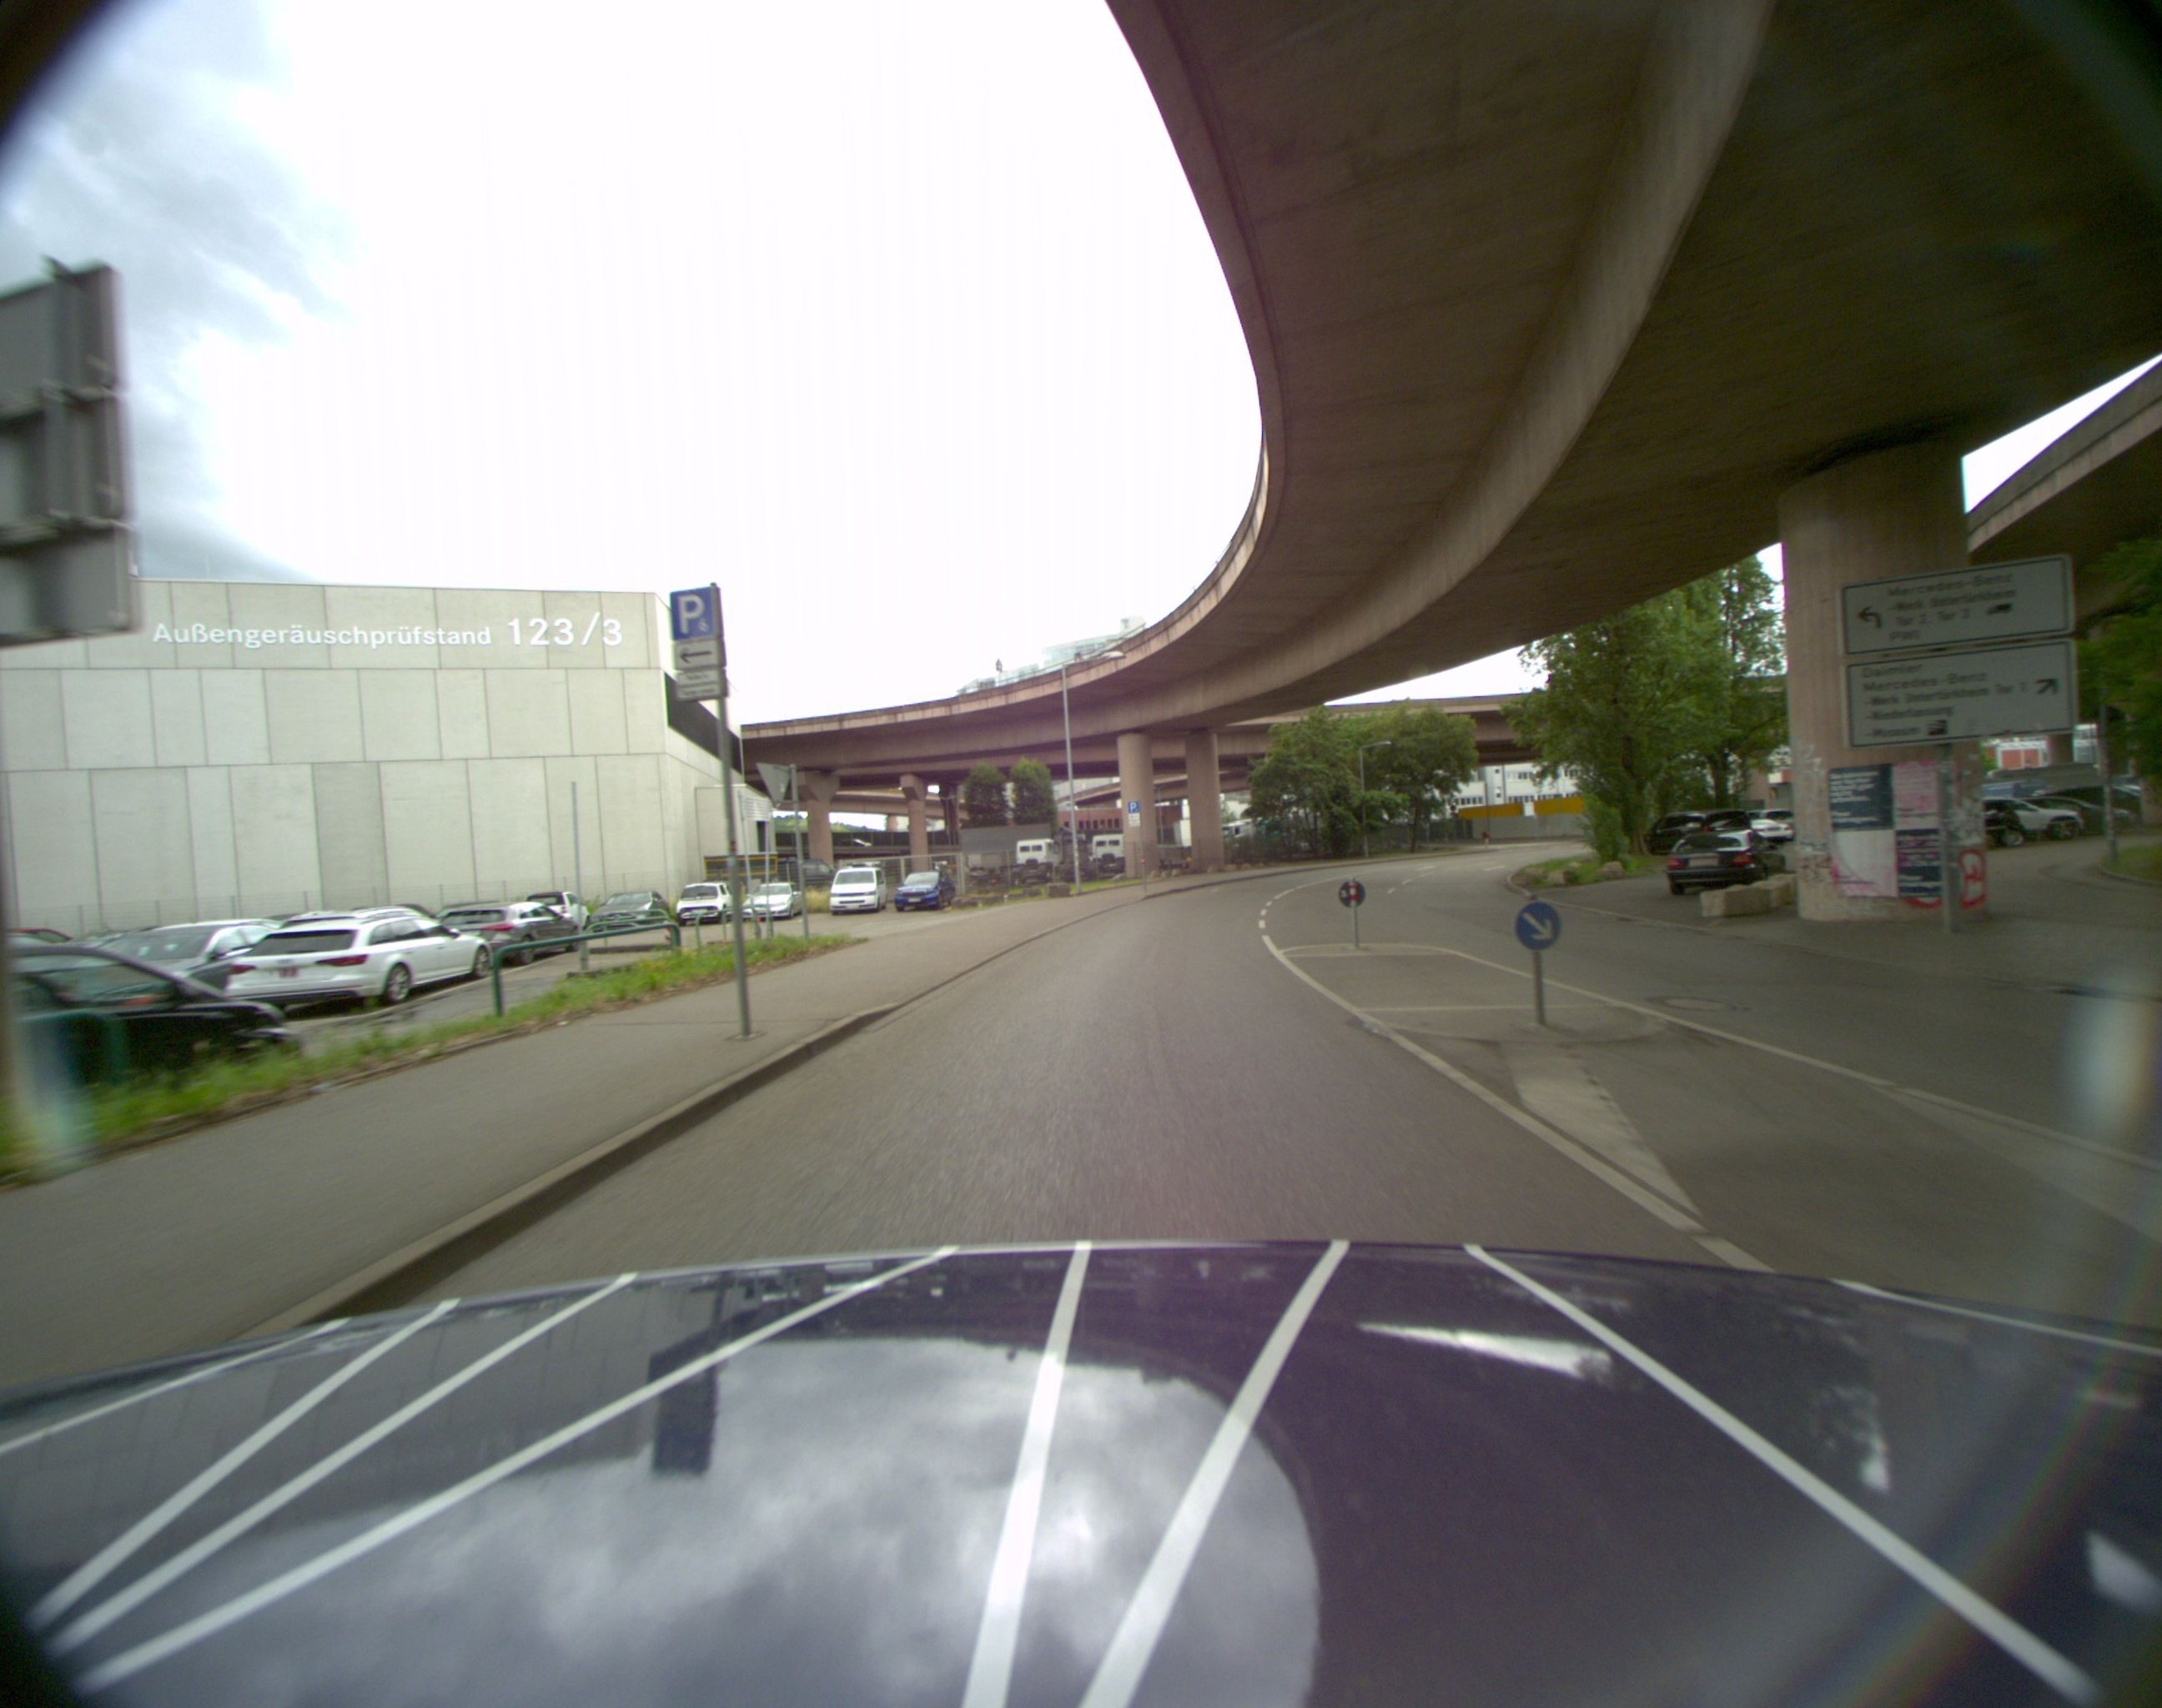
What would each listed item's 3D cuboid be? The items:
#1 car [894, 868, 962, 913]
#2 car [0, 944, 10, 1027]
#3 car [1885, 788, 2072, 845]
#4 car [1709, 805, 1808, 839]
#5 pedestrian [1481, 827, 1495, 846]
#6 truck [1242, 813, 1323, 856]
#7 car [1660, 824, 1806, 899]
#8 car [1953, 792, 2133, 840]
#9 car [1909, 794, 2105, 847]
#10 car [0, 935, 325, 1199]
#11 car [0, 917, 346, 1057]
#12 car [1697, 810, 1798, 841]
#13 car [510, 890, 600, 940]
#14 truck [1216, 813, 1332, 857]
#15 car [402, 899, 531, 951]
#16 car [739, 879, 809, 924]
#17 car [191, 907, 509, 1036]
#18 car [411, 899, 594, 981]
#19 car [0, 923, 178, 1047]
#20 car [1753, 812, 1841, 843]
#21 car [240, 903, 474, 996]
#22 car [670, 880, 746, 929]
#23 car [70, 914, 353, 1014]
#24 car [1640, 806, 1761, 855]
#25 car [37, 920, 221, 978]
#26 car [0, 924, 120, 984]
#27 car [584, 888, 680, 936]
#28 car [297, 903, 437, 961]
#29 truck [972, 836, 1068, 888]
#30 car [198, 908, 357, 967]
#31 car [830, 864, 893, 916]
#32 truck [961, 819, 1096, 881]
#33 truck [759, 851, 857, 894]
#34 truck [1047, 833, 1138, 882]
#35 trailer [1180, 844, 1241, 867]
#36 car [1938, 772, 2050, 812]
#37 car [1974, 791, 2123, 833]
[{"bbox_3d":[-6.548,1.507,32.982,1.774,1.625,4.686,-3,0,2],"label":"car"},{"bbox_3d":[-19.175,2.318,10.923,1.859,1.435,4.614,-3,0,-17],"label":"car"},{"bbox_3d":[31.778,-1.295,27.028,4.057,1.697,1.737,-3,1,11],"label":"car"},{"bbox_3d":[36.764,-1.711,41.394,1.694,1.664,4.679,-3,1,9],"label":"car"},{"bbox_3d":[36.408,-1.571,67.972,0.856,1.671,0.752,-4,2,-37],"label":"pedestrian"},{"bbox_3d":[17.483,-1.709,66.013,6.413,3.389,2.268,-3,2,-11],"label":"truck"},{"bbox_3d":[15.649,0.144,18.137,4.782,1.422,1.824,-4,-2,-40],"label":"car"},{"bbox_3d":[35.607,-1.393,28.245,3.862,1.456,1.744,-3,1,15],"label":"car"},{"bbox_3d":[30.460,-1.074,25.140,3.861,1.456,1.540,-3,1,19],"label":"car"},{"bbox_3d":[-7.633,1.504,5.403,1.542,1.470,2.762,-3,0,7],"label":"car"},{"bbox_3d":[-14.624,1.972,12.330,1.859,1.466,4.681,-3,0,-17],"label":"car"},{"bbox_3d":[33.504,-1.394,38.351,1.694,1.356,4.519,-3,1,10],"label":"car"},{"bbox_3d":[-19.225,2.197,27.915,1.624,1.535,3.094,-3,0,-14],"label":"car"},{"bbox_3d":[17.578,-1.720,69.166,10.219,3.478,2.268,-3,2,-14],"label":"truck"},{"bbox_3d":[-21.484,2.416,26.807,1.776,1.375,4.356,-3,0,-14],"label":"car"},{"bbox_3d":[-12.251,1.844,30.606,1.776,1.448,4.550,-3,0,-12],"label":"car"},{"bbox_3d":[-12.260,1.840,13.284,1.859,1.466,4.681,-3,0,-14],"label":"car"},{"bbox_3d":[-13.641,1.946,18.283,1.840,1.417,4.437,-3,0,-14],"label":"car"},{"bbox_3d":[-16.972,2.091,11.560,1.859,1.618,4.614,-3,0,-17],"label":"car"},{"bbox_3d":[39.072,-1.433,41.586,1.694,1.527,3.629,-3,1,9],"label":"car"},{"bbox_3d":[-16.193,2.035,17.388,1.840,1.504,4.496,-3,0,-14],"label":"car"},{"bbox_3d":[-14.461,1.882,29.673,1.776,1.578,4.355,-3,0,-15],"label":"car"},{"bbox_3d":[-18.821,2.283,16.840,1.840,1.504,4.496,-3,0,-14],"label":"car"},{"bbox_3d":[27.511,-1.018,34.004,1.854,1.906,4.976,-3,1,9],"label":"car"},{"bbox_3d":[-30.504,2.981,24.559,1.698,1.291,4.191,-3,0,-20],"label":"car"},{"bbox_3d":[-32.704,3.107,23.638,1.498,1.451,4.058,-3,0,-20],"label":"car"},{"bbox_3d":[-16.370,2.076,27.975,1.776,1.375,4.356,-3,0,-14],"label":"car"},{"bbox_3d":[-23.823,2.546,25.592,1.777,1.448,4.354,-3,0,-20],"label":"car"},{"bbox_3d":[-3.647,0.442,46.941,2.452,2.869,6.130,-3,0,34],"label":"truck"},{"bbox_3d":[-26.469,2.690,25.255,1.777,1.448,4.354,-3,0,-20],"label":"car"},{"bbox_3d":[-9.341,1.482,32.707,1.894,1.945,4.677,-3,0,-8],"label":"car"},{"bbox_3d":[-4.300,-0.284,61.428,10.140,4.340,3.909,-3,0,-15],"label":"truck"},{"bbox_3d":[-21.941,1.465,61.379,6.931,2.915,3.048,-3,0,-11],"label":"truck"},{"bbox_3d":[0.884,0.131,47.211,2.419,2.728,7.248,-3,0,28],"label":"truck"},{"bbox_3d":[8.909,0.065,52.077,4.390,1.324,1.601,-4,2,-40],"label":"trailer"},{"bbox_3d":[62.484,-4.173,52.187,1.826,2.567,5.690,-1,3,14],"label":"car"},{"bbox_3d":[38.257,-1.643,30.145,3.417,1.381,1.377,-3,1,20],"label":"car"}]
